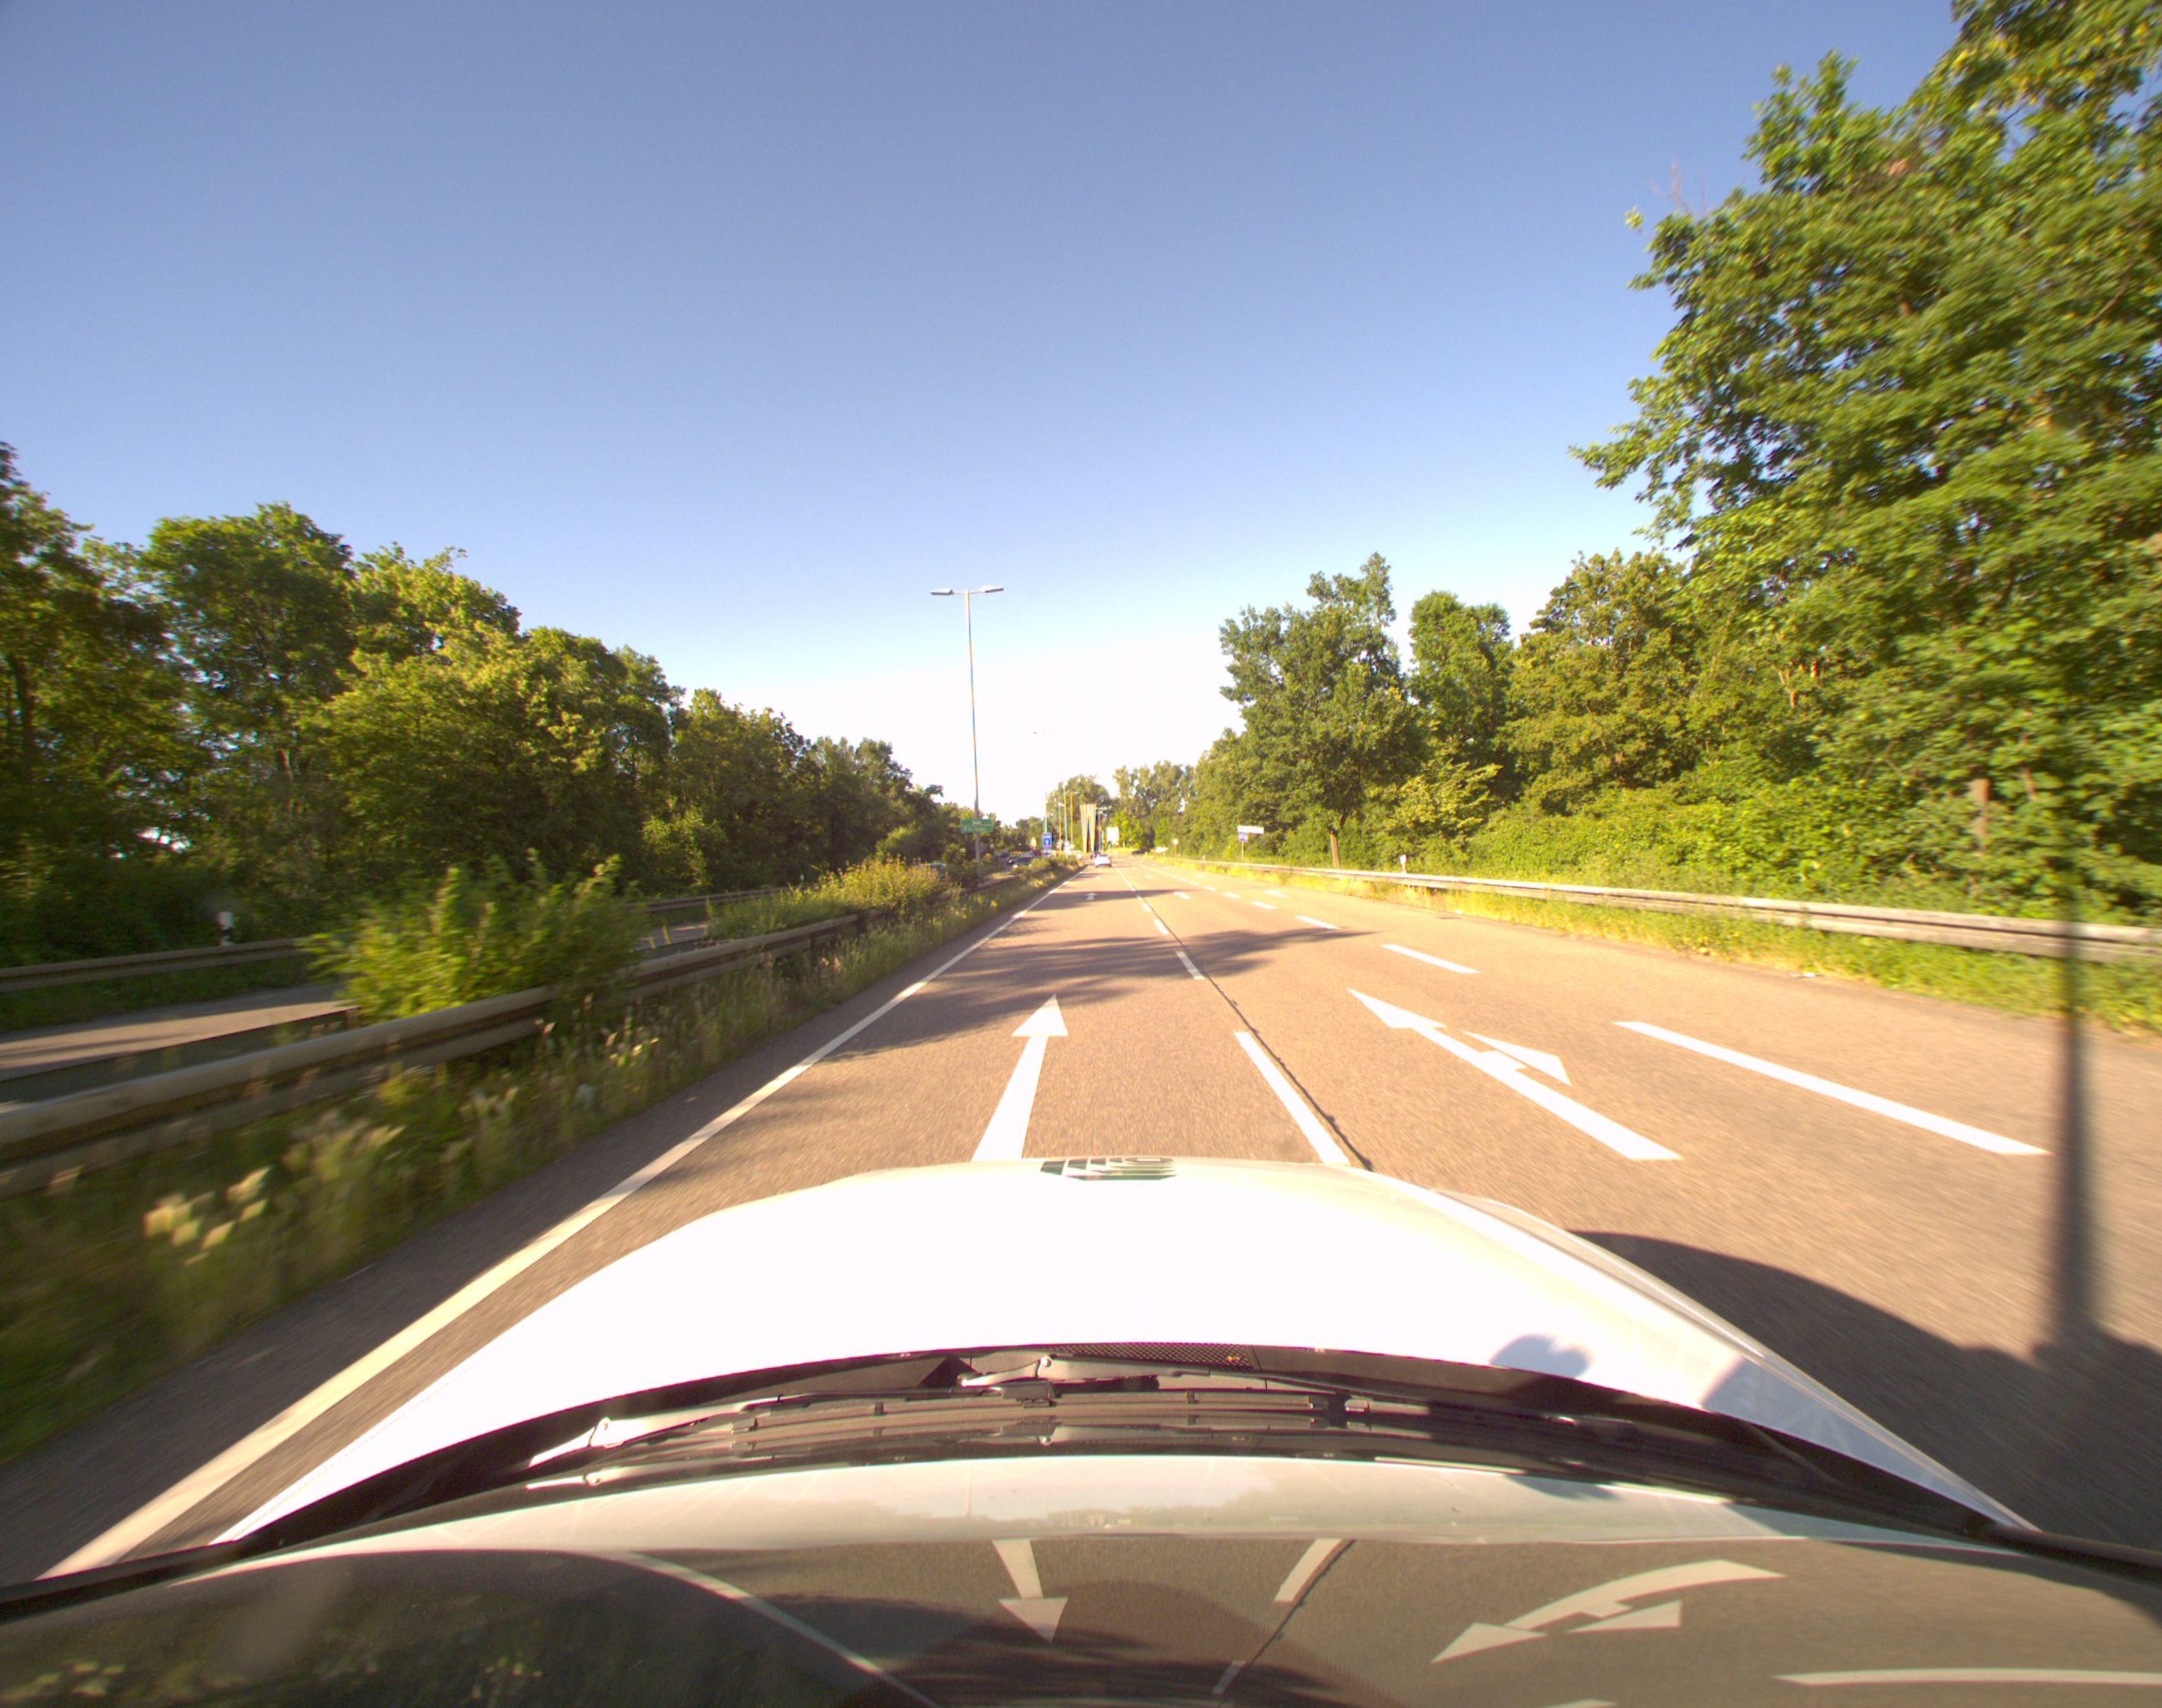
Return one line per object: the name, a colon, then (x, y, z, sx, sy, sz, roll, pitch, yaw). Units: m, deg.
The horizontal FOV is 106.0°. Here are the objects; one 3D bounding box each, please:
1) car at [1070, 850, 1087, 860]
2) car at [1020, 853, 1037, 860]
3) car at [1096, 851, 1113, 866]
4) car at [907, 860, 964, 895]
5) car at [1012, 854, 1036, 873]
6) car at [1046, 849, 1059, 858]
car: (-0.438, 0.137, 156.323, 1.999, 1.879, 4.223, -3, 1, -18)
car: (-11.978, 0.564, 185.383, 2.283, 1.508, 3.956, -2, 0, -35)
car: (2.756, 0.494, 96.665, 1.986, 1.640, 4.129, -2, 1, 1)
car: (-6.598, 1.028, 37.345, 1.746, 1.450, 4.431, -2, 0, 0)
car: (-5.409, 0.918, 77.899, 1.779, 1.710, 4.548, -2, 0, 1)
car: (-6.178, -0.147, 175.570, 1.974, 1.698, 3.977, -3, 1, -17)
